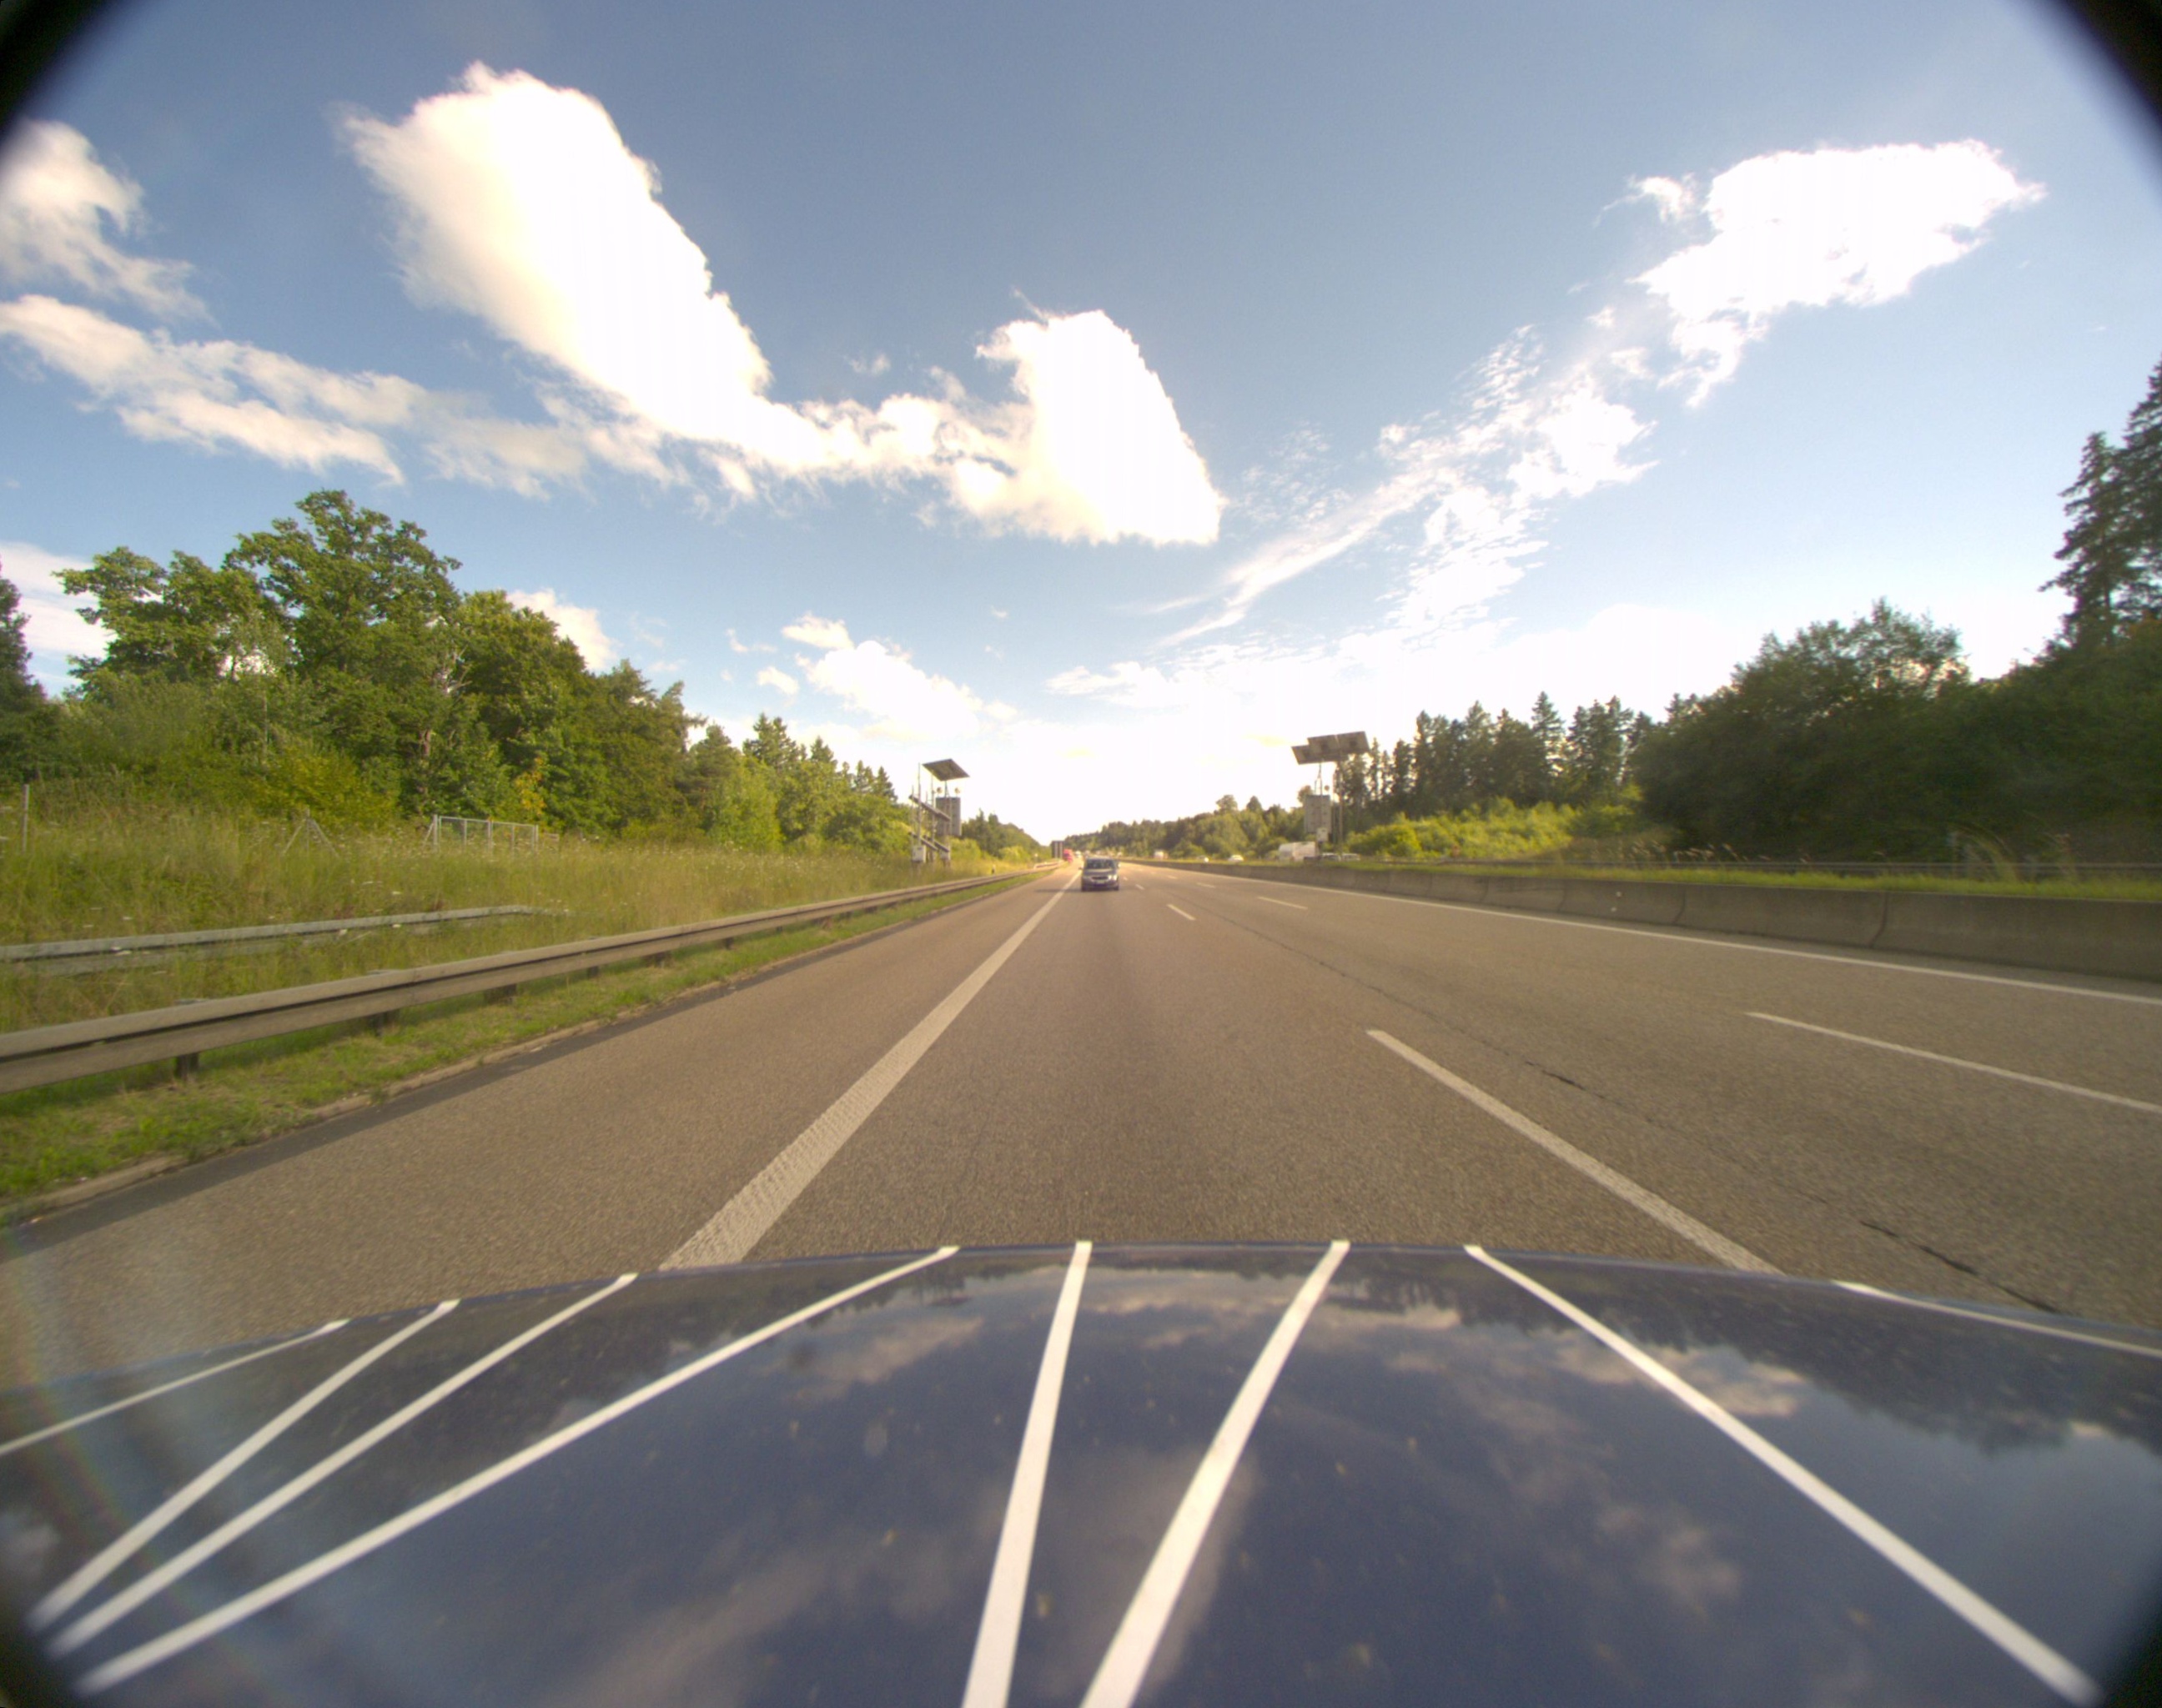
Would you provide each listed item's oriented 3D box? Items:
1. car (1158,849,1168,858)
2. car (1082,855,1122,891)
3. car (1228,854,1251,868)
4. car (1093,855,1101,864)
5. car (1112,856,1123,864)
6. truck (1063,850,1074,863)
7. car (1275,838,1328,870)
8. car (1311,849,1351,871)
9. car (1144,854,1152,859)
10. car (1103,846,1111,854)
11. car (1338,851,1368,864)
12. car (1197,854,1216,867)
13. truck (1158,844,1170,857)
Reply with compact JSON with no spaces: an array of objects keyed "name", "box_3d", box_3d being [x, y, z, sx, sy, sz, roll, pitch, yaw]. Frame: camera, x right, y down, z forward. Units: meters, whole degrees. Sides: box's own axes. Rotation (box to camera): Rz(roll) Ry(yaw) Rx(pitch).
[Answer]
[{"name":"car","box_3d":[22.894,-0.109,212.885,2.114,2.299,6.724,-2,0,1]},{"name":"car","box_3d":[1.012,0.855,36.312,1.742,1.608,4.083,-1,0,2]},{"name":"car","box_3d":[25.693,1.124,123.557,2.585,2.126,5.966,-1,0,1]},{"name":"car","box_3d":[3.894,1.397,185.149,1.998,2.124,4.000,-1,0,1]},{"name":"car","box_3d":[5.916,0.932,123.382,1.749,1.276,4.199,-1,0,2]},{"name":"truck","box_3d":[-3.753,0.674,236.081,2.880,3.871,8.959,-2,0,1]},{"name":"car","box_3d":[17.240,0.028,59.820,2.585,2.332,5.829,-1,0,1]},{"name":"car","box_3d":[21.183,0.513,64.576,1.929,1.795,4.493,-1,0,1]},{"name":"car","box_3d":[18.896,0.695,214.104,1.998,1.444,4.000,-1,0,2]},{"name":"car","box_3d":[7.021,-1.020,206.102,1.998,2.002,4.000,-1,0,0]},{"name":"car","box_3d":[24.701,0.309,69.027,1.595,1.087,3.173,-1,0,1]},{"name":"car","box_3d":[22.720,1.162,138.085,2.585,2.126,5.966,-1,0,1]},{"name":"truck","box_3d":[26.793,-1.122,245.497,3.122,3.815,7.123,-1,0,1]}]
